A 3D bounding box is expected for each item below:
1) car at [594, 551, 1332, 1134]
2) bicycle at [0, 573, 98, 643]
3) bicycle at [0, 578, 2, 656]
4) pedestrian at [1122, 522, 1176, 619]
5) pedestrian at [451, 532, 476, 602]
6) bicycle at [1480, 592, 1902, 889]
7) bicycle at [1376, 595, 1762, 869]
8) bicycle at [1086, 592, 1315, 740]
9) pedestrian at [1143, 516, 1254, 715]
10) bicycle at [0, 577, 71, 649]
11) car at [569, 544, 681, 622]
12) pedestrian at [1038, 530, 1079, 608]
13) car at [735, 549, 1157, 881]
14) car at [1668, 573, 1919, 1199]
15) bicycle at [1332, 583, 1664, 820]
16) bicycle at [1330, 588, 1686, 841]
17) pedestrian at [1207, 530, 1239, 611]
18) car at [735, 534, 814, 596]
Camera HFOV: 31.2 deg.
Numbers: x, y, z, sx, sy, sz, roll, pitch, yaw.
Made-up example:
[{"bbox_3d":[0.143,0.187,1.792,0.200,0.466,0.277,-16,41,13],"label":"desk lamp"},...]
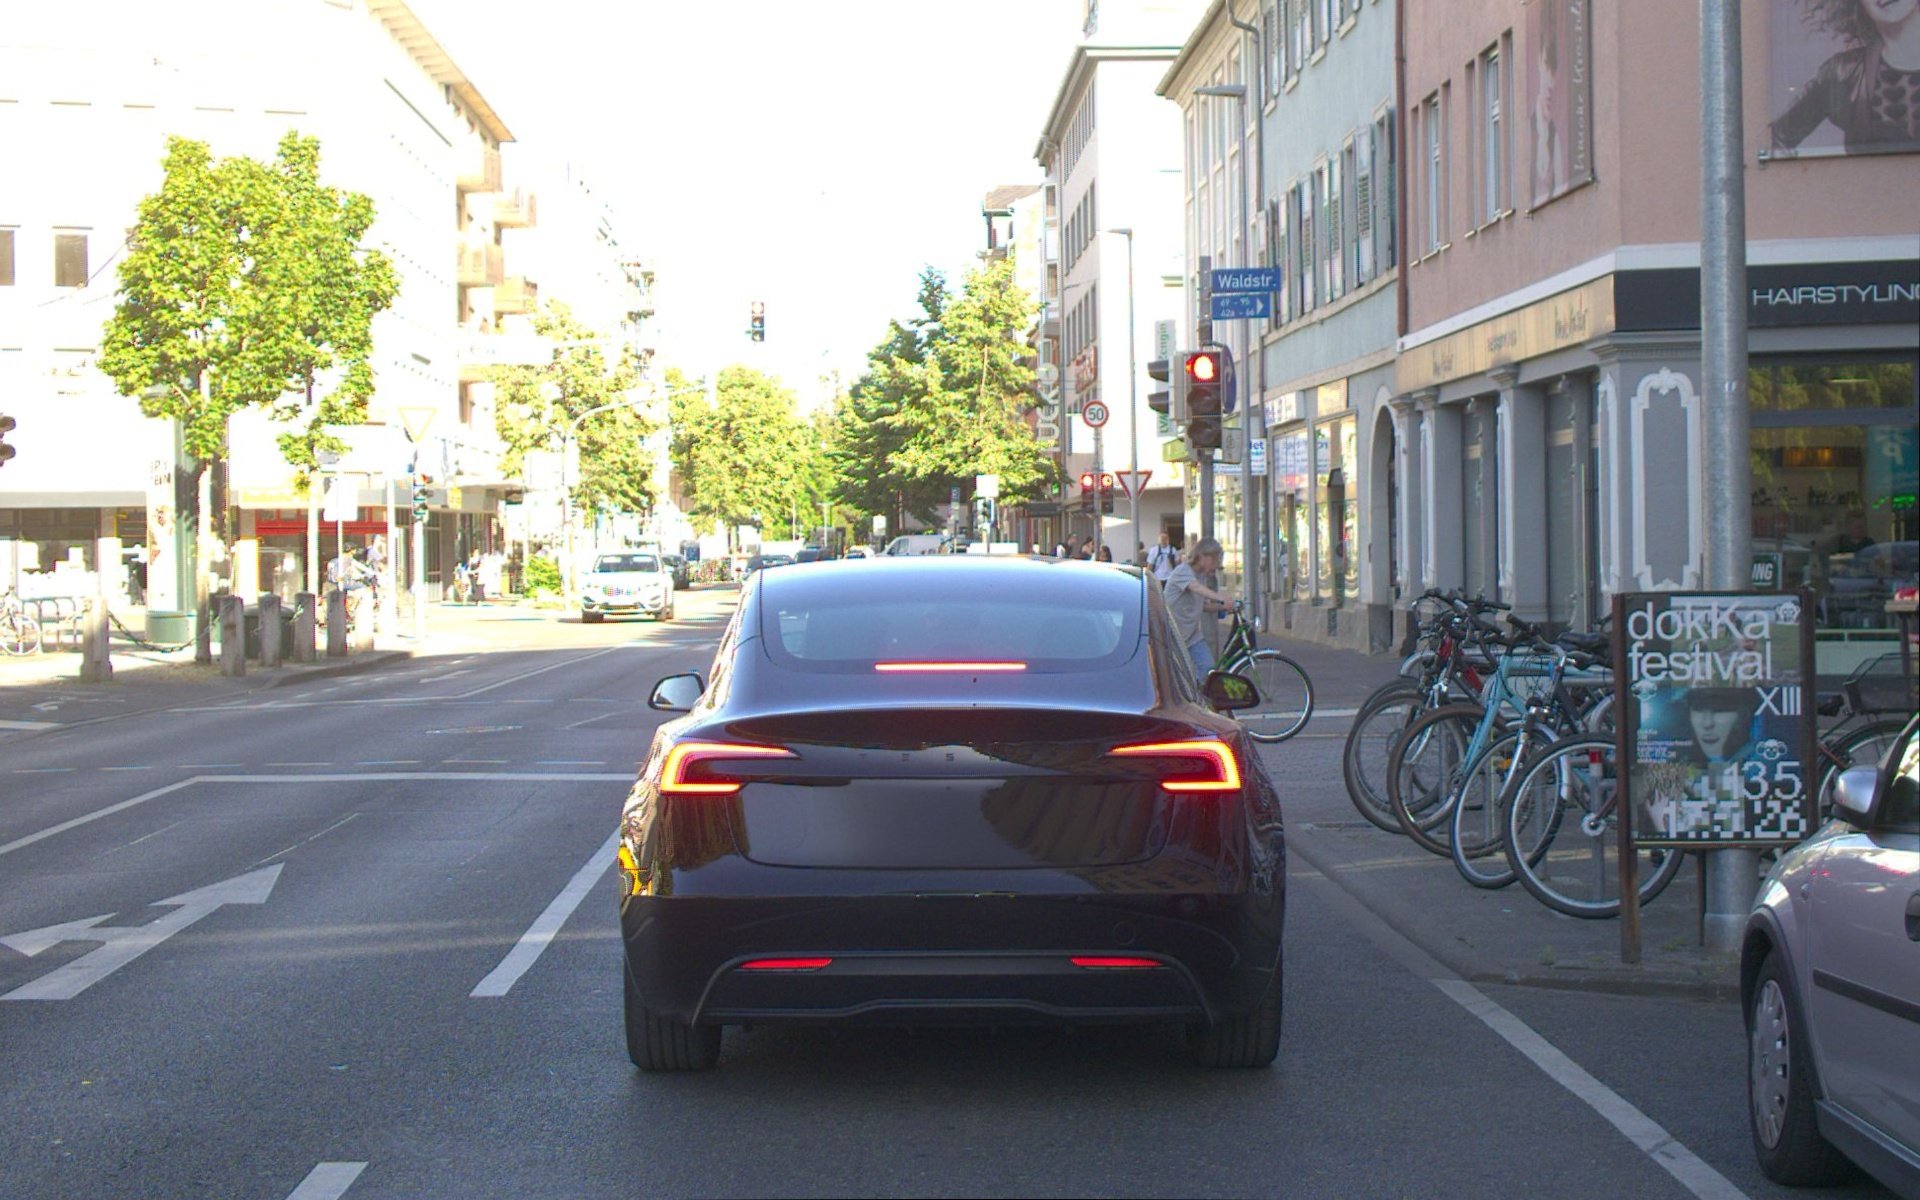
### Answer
[{"bbox_3d":[0.014,0.582,10.518,1.850,1.450,3.786,0,1,0],"label":"car"},{"bbox_3d":[-15.020,0.124,55.347,2.082,1.100,0.806,0,1,0],"label":"bicycle"},{"bbox_3d":[-14.633,0.249,48.378,2.082,1.100,0.806,0,1,0],"label":"bicycle"},{"bbox_3d":[3.643,-0.572,66.360,0.999,1.844,0.615,0,1,-1],"label":"pedestrian"},{"bbox_3d":[-14.232,-0.941,98.512,0.626,2.007,0.575,0,1,-1],"label":"pedestrian"},{"bbox_3d":[3.032,0.575,14.315,1.627,1.156,0.433,-2,1,-1],"label":"bicycle"},{"bbox_3d":[2.738,0.586,15.519,1.627,1.156,0.433,-2,1,-1],"label":"bicycle"},{"bbox_3d":[1.765,0.473,25.160,1.616,1.041,0.590,1,0,9],"label":"bicycle"},{"bbox_3d":[1.751,0.106,25.169,0.743,1.435,0.582,1,0,9],"label":"pedestrian"},{"bbox_3d":[-14.884,0.196,53.153,2.082,1.100,0.806,0,1,0],"label":"bicycle"},{"bbox_3d":[-7.286,-0.393,75.100,1.993,1.535,4.000,-4,1,0],"label":"car"},{"bbox_3d":[2.526,-0.800,88.063,0.750,2.007,0.798,0,1,-26],"label":"pedestrian"},{"bbox_3d":[-0.053,0.475,16.985,1.850,1.450,3.786,0,1,0],"label":"car"},{"bbox_3d":[2.604,0.658,6.788,1.622,1.389,3.886,0,1,0],"label":"car"},{"bbox_3d":[2.793,0.522,17.911,1.628,1.156,0.433,-2,1,1],"label":"bicycle"},{"bbox_3d":[2.662,0.552,16.772,1.627,1.156,0.433,-2,1,-1],"label":"bicycle"},{"bbox_3d":[6.486,-0.730,84.788,0.627,2.007,0.558,0,1,24],"label":"pedestrian"},{"bbox_3d":[-5.287,-1.024,98.442,2.050,1.721,4.654,0,1,-1],"label":"car"}]
